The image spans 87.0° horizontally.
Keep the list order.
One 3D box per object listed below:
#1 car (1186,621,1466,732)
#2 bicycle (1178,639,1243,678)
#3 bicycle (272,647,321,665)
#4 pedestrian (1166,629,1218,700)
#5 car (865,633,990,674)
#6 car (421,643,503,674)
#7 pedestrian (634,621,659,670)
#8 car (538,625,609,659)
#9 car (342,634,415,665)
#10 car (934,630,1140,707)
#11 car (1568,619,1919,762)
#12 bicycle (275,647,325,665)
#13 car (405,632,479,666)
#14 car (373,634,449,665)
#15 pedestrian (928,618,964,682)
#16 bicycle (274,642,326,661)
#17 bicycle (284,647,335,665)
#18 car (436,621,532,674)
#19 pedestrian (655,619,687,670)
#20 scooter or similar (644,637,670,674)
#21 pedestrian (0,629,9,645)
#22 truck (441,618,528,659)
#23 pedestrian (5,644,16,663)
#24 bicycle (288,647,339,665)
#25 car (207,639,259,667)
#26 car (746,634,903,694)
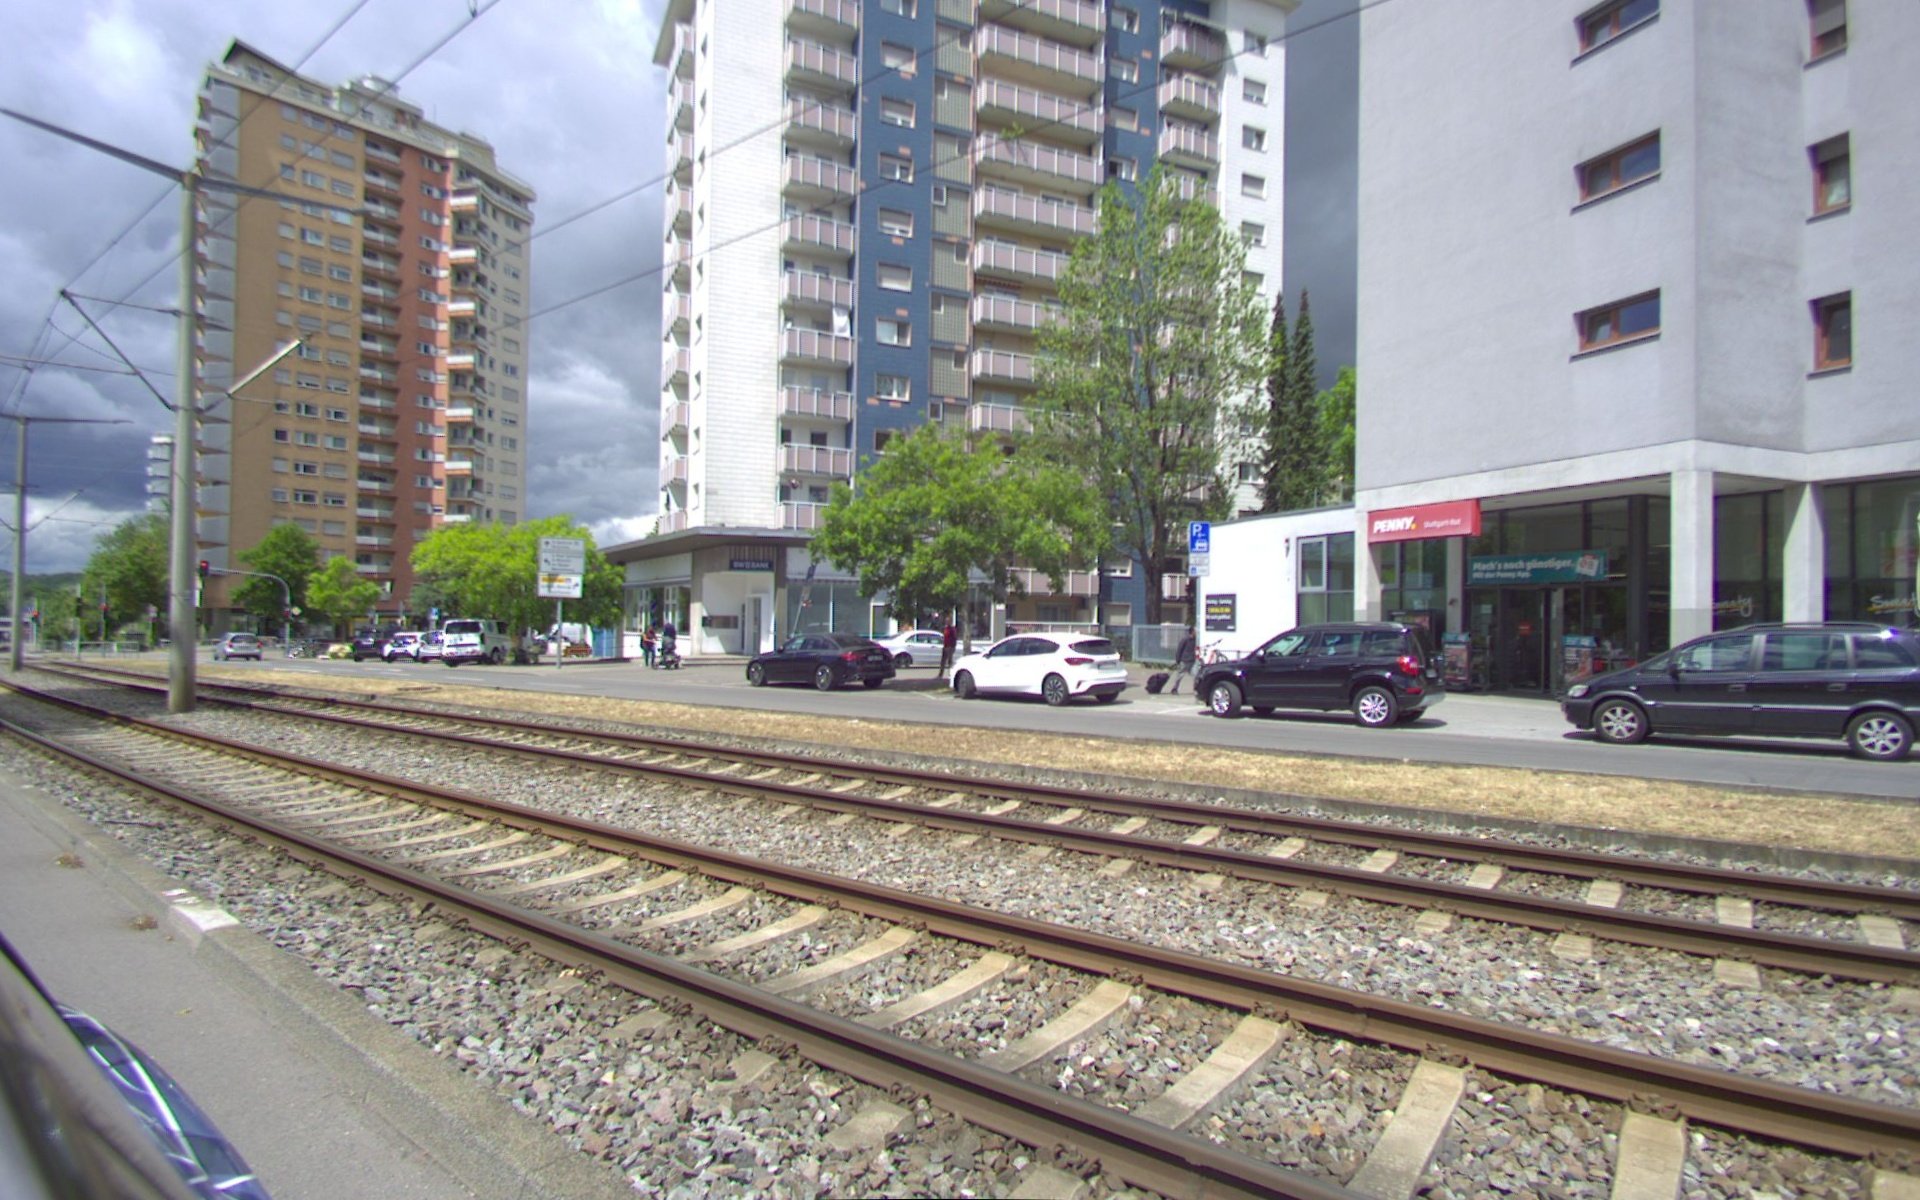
[{"bbox_3d":[6.220,1.250,17.404,4.095,1.675,1.974,-3,-3,39],"label":"car"},{"bbox_3d":[8.050,1.878,32.531,1.939,1.221,0.671,1,-4,-17],"label":"bicycle"},{"bbox_3d":[-40.504,3.434,61.796,0.705,1.074,2.401,-3,-5,42],"label":"bicycle"},{"bbox_3d":[5.198,1.448,22.738,0.593,1.545,0.975,3,-4,-36],"label":"pedestrian"},{"bbox_3d":[-1.233,1.969,37.208,4.283,1.454,2.005,1,-3,-13],"label":"car"},{"bbox_3d":[-23.307,2.739,47.534,1.879,1.394,3.999,0,-3,0],"label":"car"},{"bbox_3d":[-11.062,1.598,35.729,0.507,1.582,0.988,-3,8,-38],"label":"pedestrian"},{"bbox_3d":[-38.732,4.260,101.523,6.204,3.324,2.003,3,-4,-40],"label":"car"},{"bbox_3d":[-31.450,2.678,54.836,1.903,1.604,4.004,1,-3,-5],"label":"car"},{"bbox_3d":[1.556,1.441,21.730,1.733,1.486,4.404,3,-5,-43],"label":"car"},{"bbox_3d":[10.715,1.151,13.504,4.101,1.660,1.971,-3,-5,44],"label":"car"},{"bbox_3d":[-39.911,3.405,61.261,0.705,1.074,2.401,-3,-5,42],"label":"bicycle"},{"bbox_3d":[-25.677,2.453,50.324,1.877,1.644,4.003,0,-3,-4],"label":"car"},{"bbox_3d":[-27.915,2.530,51.593,1.723,1.508,3.764,0,-3,1],"label":"car"},{"bbox_3d":[-0.411,1.453,29.407,0.843,1.806,0.605,-3,-5,41],"label":"pedestrian"},{"bbox_3d":[-37.887,2.936,58.152,0.717,1.042,2.401,-3,-3,42],"label":"bicycle"},{"bbox_3d":[-38.725,3.350,60.252,0.705,1.074,2.401,-3,-5,42],"label":"bicycle"},{"bbox_3d":[-20.425,2.074,43.684,1.879,2.173,4.761,0,-3,0],"label":"car"},{"bbox_3d":[-10.398,1.607,36.406,0.829,1.806,0.876,2,-4,-34],"label":"pedestrian"},{"bbox_3d":[-10.514,1.911,35.099,0.572,1.132,0.771,-6,10,-38],"label":"scooter or similar"},{"bbox_3d":[-102.207,3.941,107.999,0.747,1.618,0.853,-3,-5,42],"label":"pedestrian"},{"bbox_3d":[-45.124,3.706,96.210,6.990,3.703,2.550,3,-5,-42],"label":"truck"},{"bbox_3d":[-97.853,5.538,104.302,0.573,1.946,0.761,-3,-5,41],"label":"pedestrian"},{"bbox_3d":[-38.136,3.323,59.746,0.705,1.074,2.401,-3,-5,42],"label":"bicycle"},{"bbox_3d":[-41.726,3.061,58.064,1.797,1.544,3.757,4,-5,-44],"label":"car"},{"bbox_3d":[-3.587,1.619,26.310,4.381,1.439,1.715,-2,-3,44],"label":"car"}]
